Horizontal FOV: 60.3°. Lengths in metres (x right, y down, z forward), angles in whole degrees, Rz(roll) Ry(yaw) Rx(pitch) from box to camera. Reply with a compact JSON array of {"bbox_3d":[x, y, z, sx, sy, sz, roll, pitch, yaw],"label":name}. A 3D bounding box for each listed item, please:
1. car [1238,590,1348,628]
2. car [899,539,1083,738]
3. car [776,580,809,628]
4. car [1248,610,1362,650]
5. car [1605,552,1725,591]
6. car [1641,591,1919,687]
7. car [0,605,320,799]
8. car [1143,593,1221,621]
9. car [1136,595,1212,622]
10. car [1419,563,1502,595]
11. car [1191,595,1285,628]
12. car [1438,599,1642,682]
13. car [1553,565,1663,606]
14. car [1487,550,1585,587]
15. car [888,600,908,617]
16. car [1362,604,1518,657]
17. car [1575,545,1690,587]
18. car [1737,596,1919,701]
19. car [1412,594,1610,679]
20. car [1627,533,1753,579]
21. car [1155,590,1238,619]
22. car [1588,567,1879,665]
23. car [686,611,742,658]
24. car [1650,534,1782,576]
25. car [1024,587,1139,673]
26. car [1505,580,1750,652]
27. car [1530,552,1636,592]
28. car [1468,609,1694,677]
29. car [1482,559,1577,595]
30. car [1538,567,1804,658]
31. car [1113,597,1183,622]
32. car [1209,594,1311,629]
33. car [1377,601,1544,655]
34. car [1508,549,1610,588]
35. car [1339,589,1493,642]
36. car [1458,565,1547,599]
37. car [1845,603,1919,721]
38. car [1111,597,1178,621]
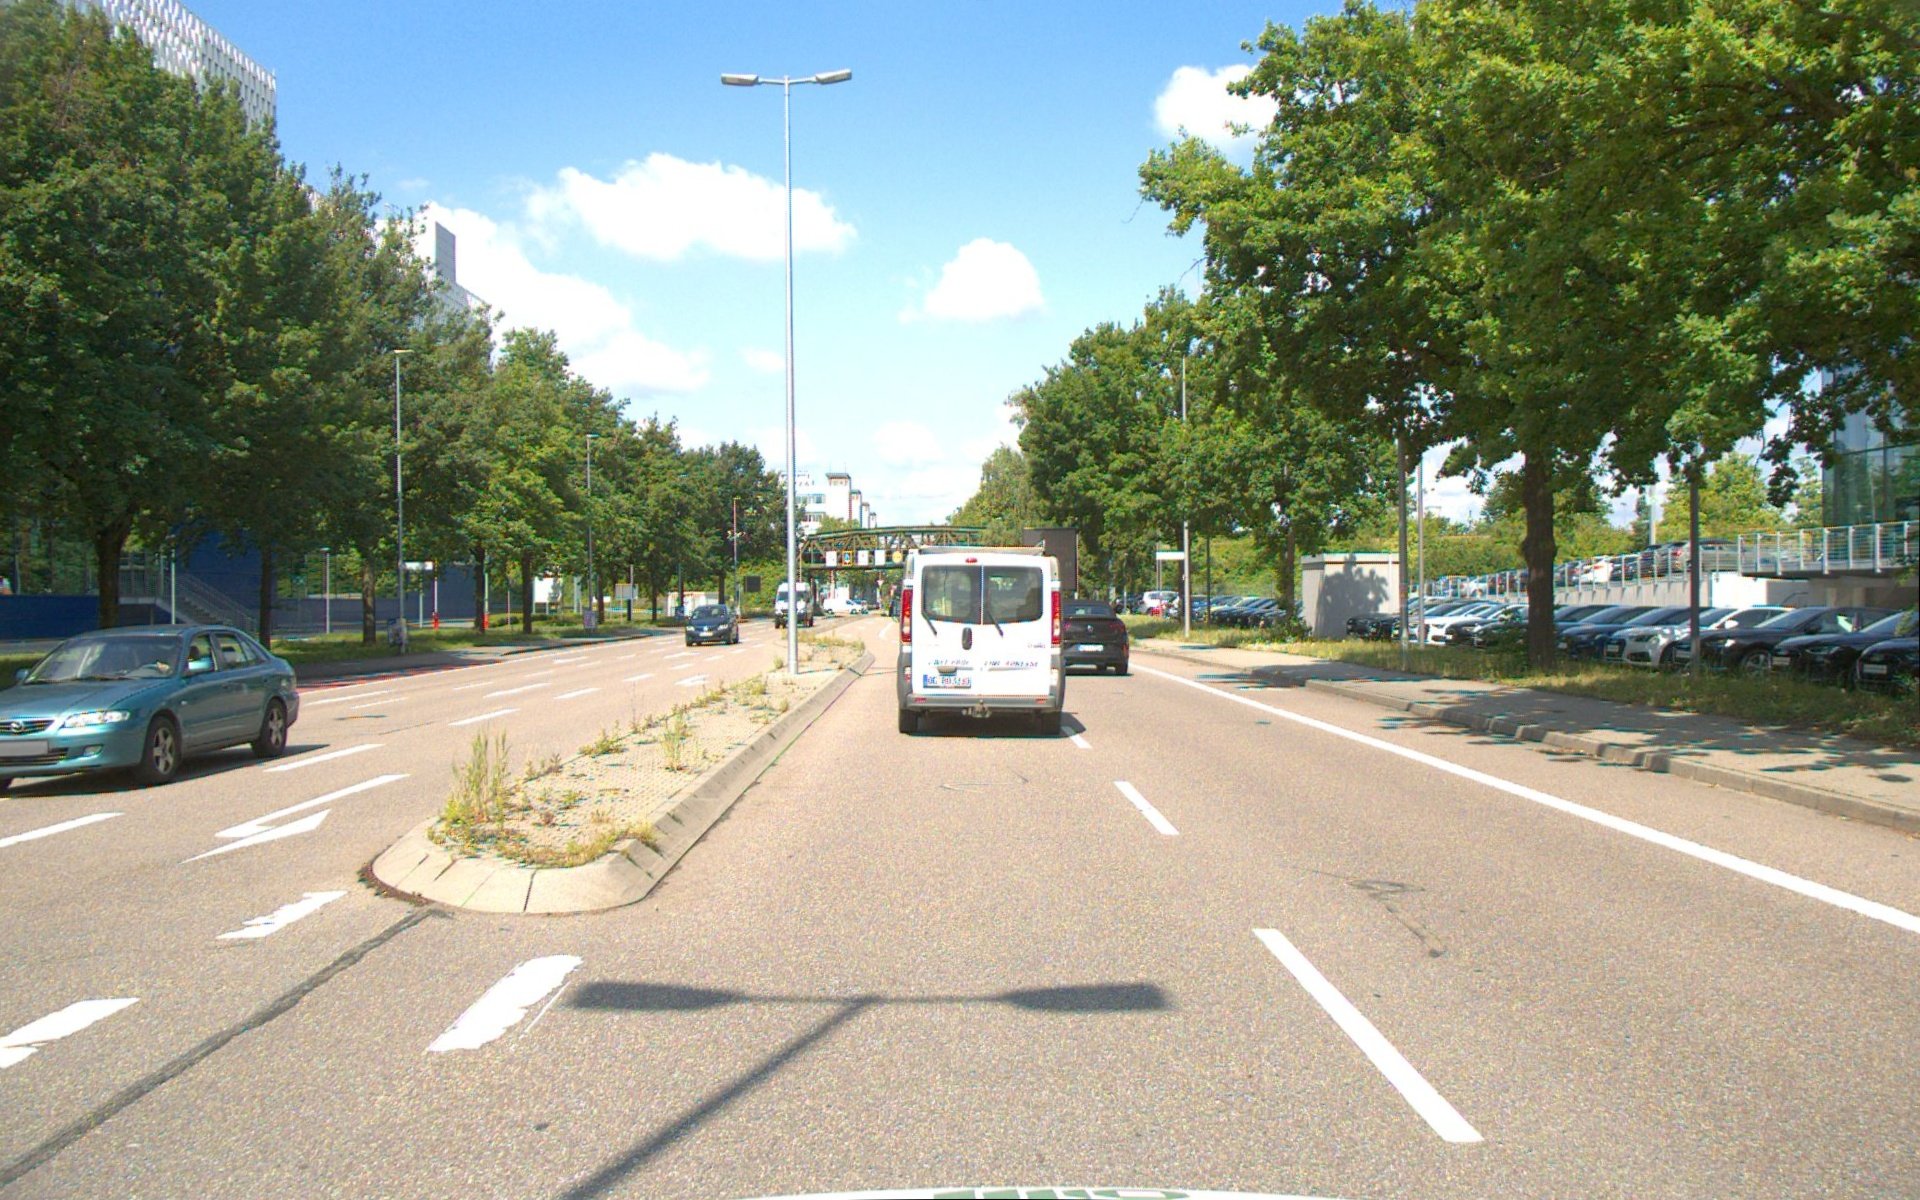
[{"bbox_3d":[14.228,0.389,70.838,4.267,1.539,1.935,0,1,-3],"label":"car"},{"bbox_3d":[0.325,0.367,19.703,1.932,2.096,4.564,0,1,0],"label":"car"},{"bbox_3d":[-10.460,0.262,103.510,1.983,2.944,6.375,-1,0,-5],"label":"car"},{"bbox_3d":[14.225,1.239,68.378,4.267,1.539,1.935,0,1,-3],"label":"car"},{"bbox_3d":[29.872,-1.215,70.155,4.264,1.578,1.937,1,1,2],"label":"car"},{"bbox_3d":[14.077,0.633,27.792,4.482,1.525,1.906,-1,0,-2],"label":"car"},{"bbox_3d":[-8.068,0.881,16.278,1.737,1.575,4.819,-3,0,-2],"label":"car"},{"bbox_3d":[12.971,0.410,96.775,4.267,1.539,1.935,0,1,-3],"label":"car"},{"bbox_3d":[12.933,0.502,100.072,4.267,1.539,1.935,0,1,-3],"label":"car"},{"bbox_3d":[29.102,-1.245,96.341,4.264,1.805,1.937,1,1,2],"label":"car"},{"bbox_3d":[13.685,0.554,81.702,4.267,1.539,1.935,0,1,-3],"label":"car"},{"bbox_3d":[14.158,0.964,40.542,4.261,1.538,1.786,6,1,-2],"label":"car"},{"bbox_3d":[29.523,-0.672,75.449,4.264,1.805,1.937,1,1,2],"label":"car"},{"bbox_3d":[28.836,-1.584,82.910,4.264,1.805,1.937,1,1,2],"label":"car"},{"bbox_3d":[-6.813,0.932,181.983,1.953,1.802,4.001,0,2,0],"label":"car"},{"bbox_3d":[14.026,0.886,48.491,4.023,1.470,1.855,0,0,-1],"label":"car"},{"bbox_3d":[29.575,-1.502,72.803,4.264,1.805,1.937,1,1,2],"label":"car"},{"bbox_3d":[14.551,0.708,25.251,4.482,1.525,1.906,-1,0,-2],"label":"car"},{"bbox_3d":[14.261,0.922,42.941,4.482,2.085,1.907,0,1,-2],"label":"car"},{"bbox_3d":[29.702,-1.805,67.364,4.264,1.805,1.937,1,1,2],"label":"car"},{"bbox_3d":[13.148,0.258,91.996,4.267,1.539,1.935,0,1,-3],"label":"car"},{"bbox_3d":[14.200,0.262,30.550,4.482,1.707,1.907,0,1,-2],"label":"car"},{"bbox_3d":[-9.586,1.307,64.685,1.704,1.638,4.238,-4,0,-3],"label":"car"},{"bbox_3d":[29.669,-1.772,64.995,4.264,1.578,1.937,1,1,2],"label":"car"},{"bbox_3d":[2.484,0.584,34.778,1.740,1.657,3.995,0,1,-6],"label":"car"},{"bbox_3d":[14.236,0.323,35.425,4.482,1.429,1.907,0,1,-2],"label":"car"},{"bbox_3d":[29.304,-1.335,77.925,4.264,1.805,1.937,1,1,2],"label":"car"},{"bbox_3d":[14.229,0.966,38.052,4.482,1.429,1.907,0,1,-2],"label":"car"},{"bbox_3d":[29.453,-1.222,85.692,4.264,1.805,1.937,1,1,2],"label":"car"},{"bbox_3d":[14.094,0.231,32.965,4.482,1.707,1.907,0,1,-2],"label":"car"},{"bbox_3d":[12.146,0.595,107.107,4.267,1.539,1.935,0,1,-3],"label":"car"},{"bbox_3d":[13.771,0.526,76.034,4.267,1.539,1.935,0,1,-3],"label":"car"},{"bbox_3d":[13.744,0.750,45.574,4.024,1.428,1.817,-1,0,-2],"label":"car"},{"bbox_3d":[29.076,-1.547,80.381,4.264,1.805,1.937,1,1,2],"label":"car"},{"bbox_3d":[14.072,0.475,51.189,4.266,1.539,1.855,-1,0,-1],"label":"car"},{"bbox_3d":[29.716,-0.985,90.727,4.264,1.805,1.937,1,1,2],"label":"car"},{"bbox_3d":[14.624,0.786,22.193,4.482,1.525,1.906,-1,0,-2],"label":"car"},{"bbox_3d":[12.361,0.606,110.940,4.267,1.539,1.935,0,1,-3],"label":"car"}]
